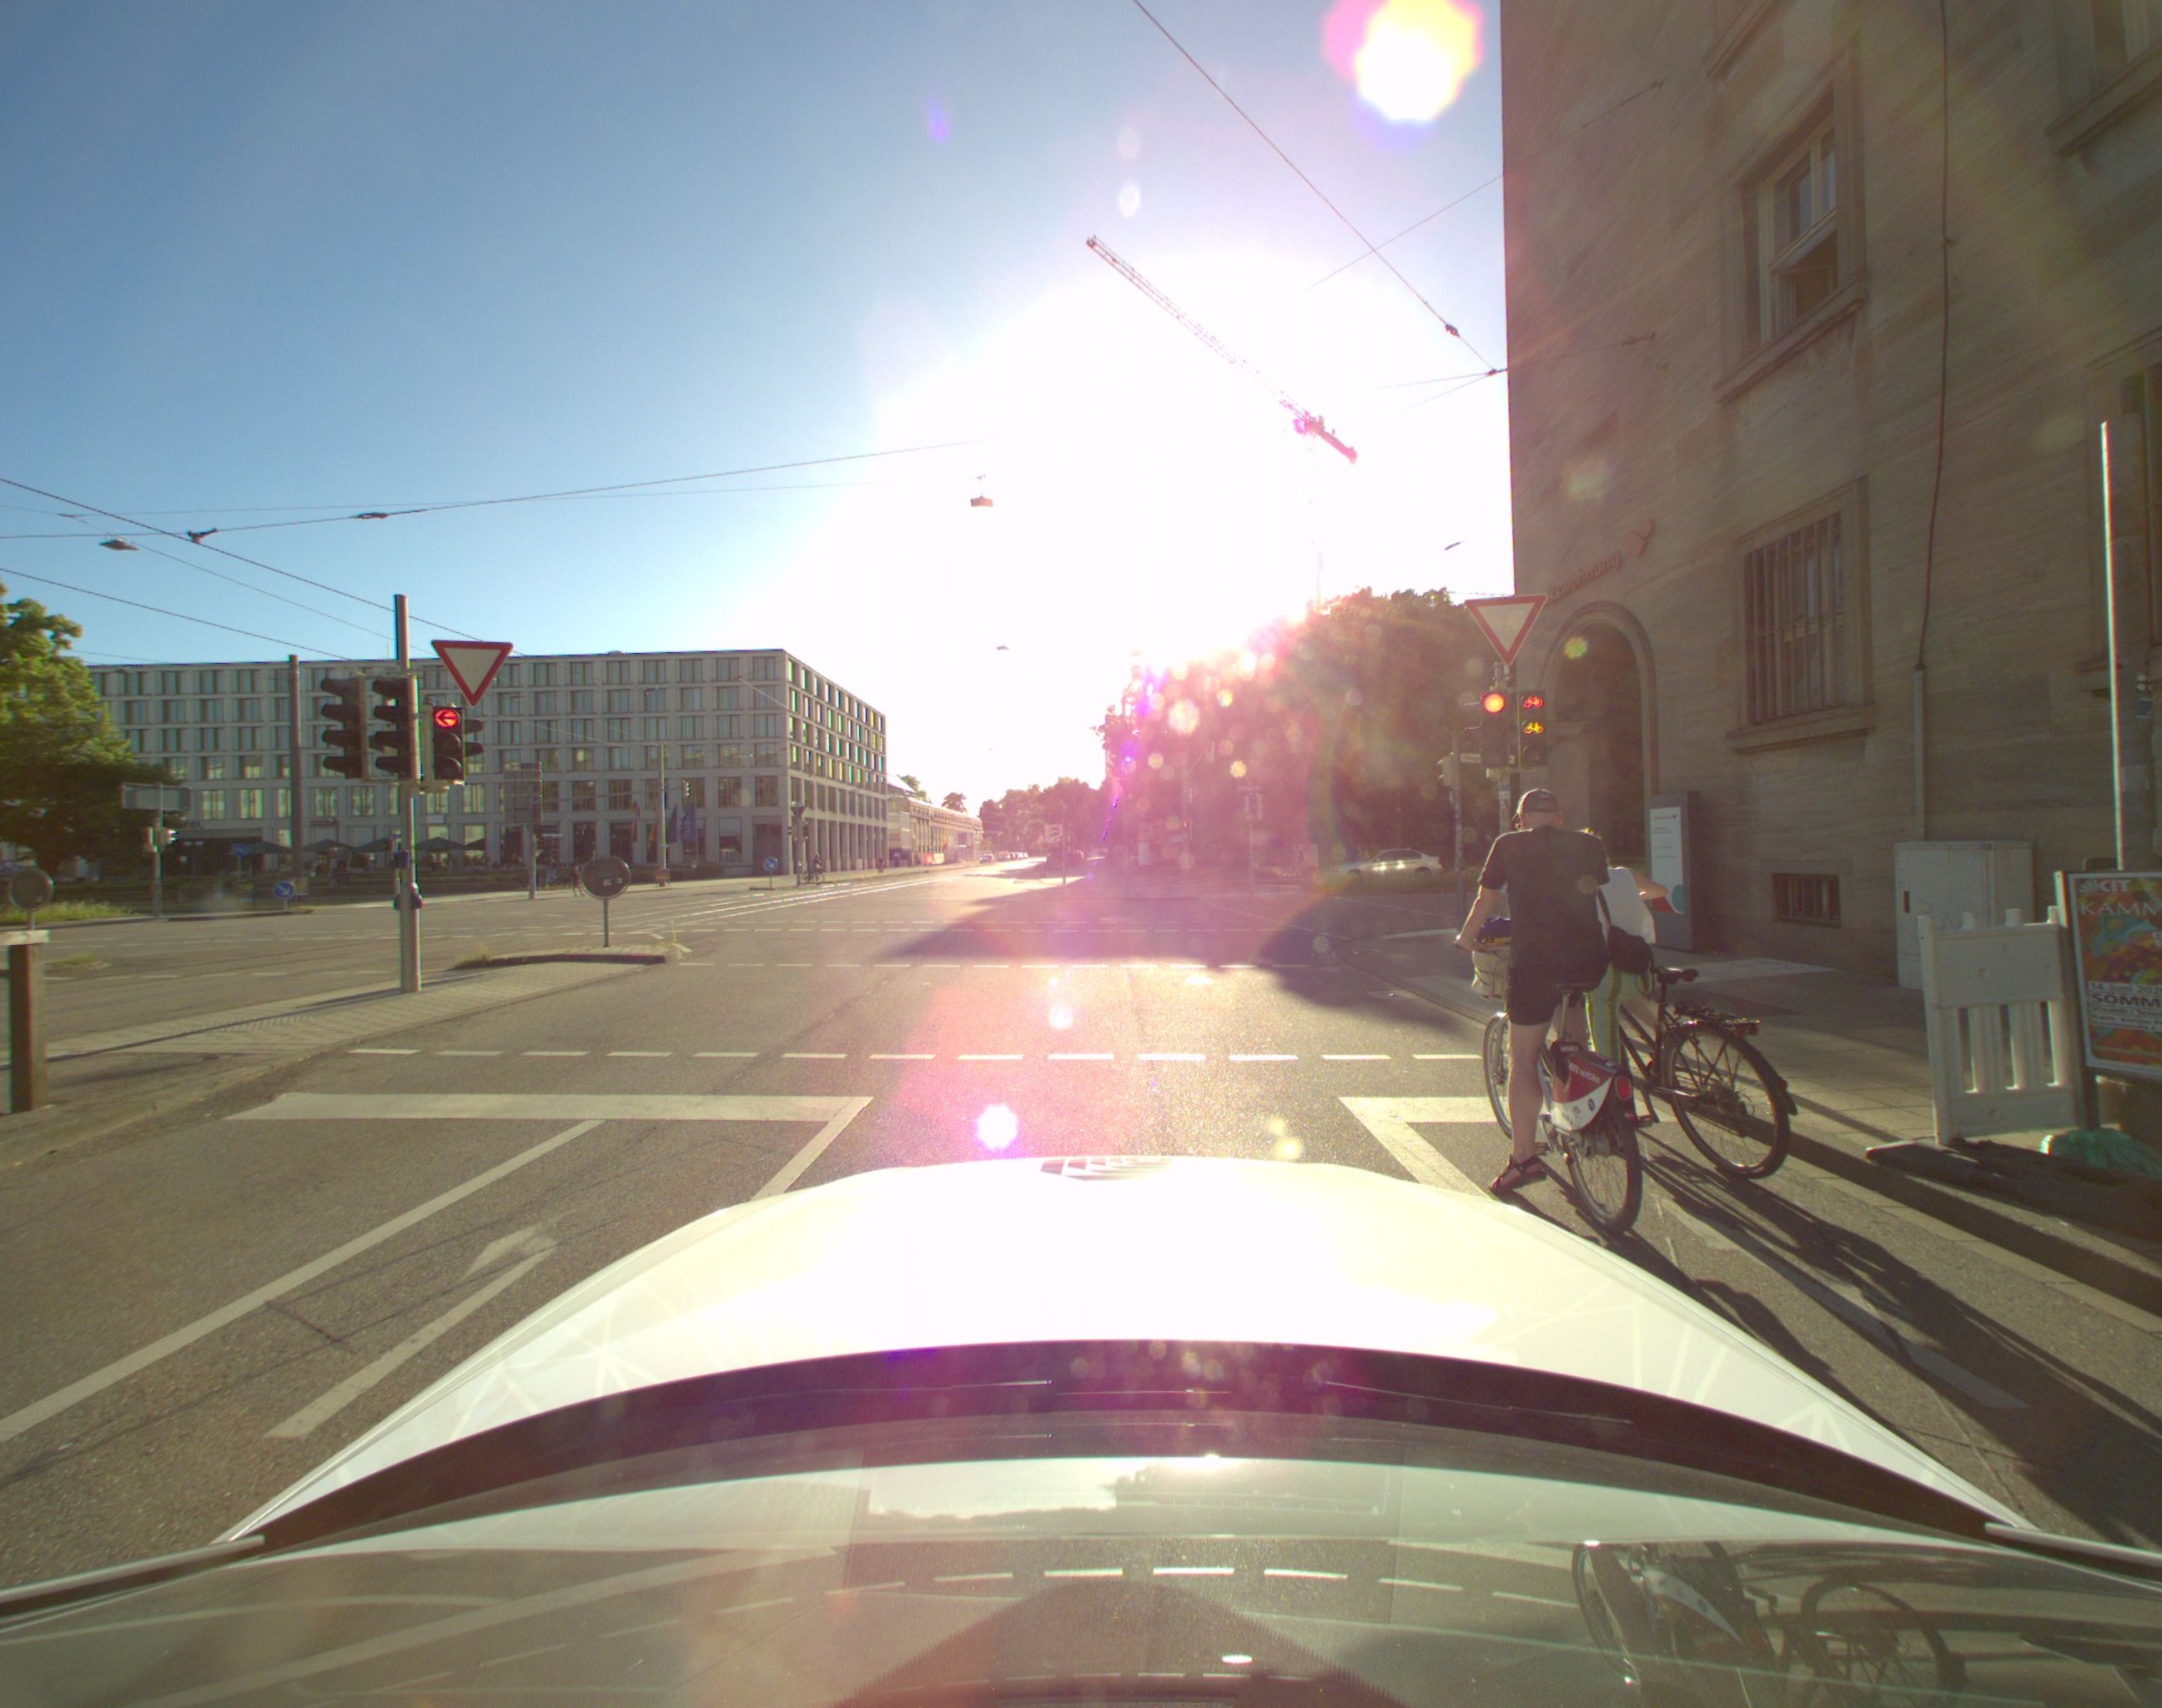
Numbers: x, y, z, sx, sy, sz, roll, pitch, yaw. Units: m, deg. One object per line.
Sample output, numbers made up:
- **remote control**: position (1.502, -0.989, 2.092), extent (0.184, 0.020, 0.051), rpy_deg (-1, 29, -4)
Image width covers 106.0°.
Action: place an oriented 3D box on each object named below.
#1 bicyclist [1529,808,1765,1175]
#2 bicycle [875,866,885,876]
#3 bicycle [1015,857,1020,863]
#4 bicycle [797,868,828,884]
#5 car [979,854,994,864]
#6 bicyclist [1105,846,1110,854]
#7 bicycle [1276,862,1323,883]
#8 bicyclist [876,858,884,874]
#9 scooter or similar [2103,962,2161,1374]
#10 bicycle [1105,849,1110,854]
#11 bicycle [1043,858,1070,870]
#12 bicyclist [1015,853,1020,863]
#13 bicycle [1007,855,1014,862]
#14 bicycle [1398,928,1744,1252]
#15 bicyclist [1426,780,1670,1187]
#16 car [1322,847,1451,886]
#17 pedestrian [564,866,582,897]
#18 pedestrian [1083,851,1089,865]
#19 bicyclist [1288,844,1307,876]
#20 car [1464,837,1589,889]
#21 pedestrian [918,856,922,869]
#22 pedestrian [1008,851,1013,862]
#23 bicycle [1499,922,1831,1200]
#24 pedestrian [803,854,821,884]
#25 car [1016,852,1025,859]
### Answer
- **bicyclist**: position (2.963, 0.655, 4.364), extent (0.581, 1.738, 0.951), rpy_deg (-2, 0, 2)
- **bicycle**: position (-18.540, 1.566, 75.219), extent (0.492, 0.839, 1.158), rpy_deg (-2, 0, 4)
- **bicycle**: position (-12.358, 1.114, 158.785), extent (0.748, 1.205, 3.108), rpy_deg (0, -1, 1)
- **bicycle**: position (-14.644, 1.185, 44.376), extent (1.696, 0.823, 0.577), rpy_deg (-2, 0, 29)
- **car**: position (-15.788, 0.884, 136.363), extent (1.988, 1.599, 3.998), rpy_deg (-2, 0, -1)
- **bicyclist**: position (6.532, -1.030, 200.646), extent (0.891, 2.014, 0.746), rpy_deg (0, -1, -10)
- **bicycle**: position (9.720, 0.831, 36.278), extent (1.932, 0.889, 0.719), rpy_deg (-1, -1, 8)
- **bicyclist**: position (-18.553, 1.115, 75.214), extent (0.492, 1.498, 0.667), rpy_deg (-2, 0, 4)
- **scooter or similar**: position (3.358, 0.886, 1.792), extent (0.571, 1.149, 1.271), rpy_deg (-1, -1, -3)
- **bicycle**: position (6.531, -0.627, 200.602), extent (0.890, 1.219, 2.784), rpy_deg (0, -1, -9)
- **bicycle**: position (-2.023, 0.798, 67.426), extent (2.240, 0.940, 0.653), rpy_deg (-2, 0, -4)
- **bicyclist**: position (-12.357, 0.764, 158.669), extent (0.748, 1.920, 1.214), rpy_deg (0, -1, 1)
- **bicycle**: position (-13.272, 0.837, 153.112), extent (0.746, 1.205, 3.114), rpy_deg (0, -1, 7)
- **bicycle**: position (2.192, 0.971, 3.952), extent (0.621, 1.044, 1.747), rpy_deg (-2, 0, 1)
- **bicyclist**: position (2.181, 0.551, 3.925), extent (0.621, 1.715, 0.913), rpy_deg (-2, 0, 1)
- **car**: position (12.443, 0.506, 33.409), extent (4.559, 1.516, 2.001), rpy_deg (0, -1, 1)
- **pedestrian**: position (-28.286, 1.529, 45.349), extent (0.600, 1.681, 0.608), rpy_deg (-2, 0, 9)
- **pedestrian**: position (0.578, 0.453, 97.818), extent (0.576, 1.689, 0.584), rpy_deg (-2, 0, -6)
- **bicyclist**: position (9.627, 0.268, 36.291), extent (0.742, 1.406, 0.704), rpy_deg (-1, -1, 8)
- **car**: position (17.890, 0.352, 32.851), extent (3.970, 2.014, 2.002), rpy_deg (0, -1, 3)
- **pedestrian**: position (-24.449, 1.273, 123.672), extent (0.585, 1.889, 0.478), rpy_deg (0, -1, 1)
- **pedestrian**: position (-13.272, 0.402, 153.186), extent (0.746, 2.063, 1.052), rpy_deg (0, -1, 7)
- **bicycle**: position (2.973, 0.970, 4.398), extent (0.579, 1.044, 1.748), rpy_deg (-2, 0, 3)
- **pedestrian**: position (-14.671, 0.795, 44.391), extent (0.735, 1.595, 0.577), rpy_deg (-2, 0, 29)
- **car**: position (-14.443, 0.283, 195.320), extent (1.988, 1.644, 3.998), rpy_deg (-2, 0, -1)
